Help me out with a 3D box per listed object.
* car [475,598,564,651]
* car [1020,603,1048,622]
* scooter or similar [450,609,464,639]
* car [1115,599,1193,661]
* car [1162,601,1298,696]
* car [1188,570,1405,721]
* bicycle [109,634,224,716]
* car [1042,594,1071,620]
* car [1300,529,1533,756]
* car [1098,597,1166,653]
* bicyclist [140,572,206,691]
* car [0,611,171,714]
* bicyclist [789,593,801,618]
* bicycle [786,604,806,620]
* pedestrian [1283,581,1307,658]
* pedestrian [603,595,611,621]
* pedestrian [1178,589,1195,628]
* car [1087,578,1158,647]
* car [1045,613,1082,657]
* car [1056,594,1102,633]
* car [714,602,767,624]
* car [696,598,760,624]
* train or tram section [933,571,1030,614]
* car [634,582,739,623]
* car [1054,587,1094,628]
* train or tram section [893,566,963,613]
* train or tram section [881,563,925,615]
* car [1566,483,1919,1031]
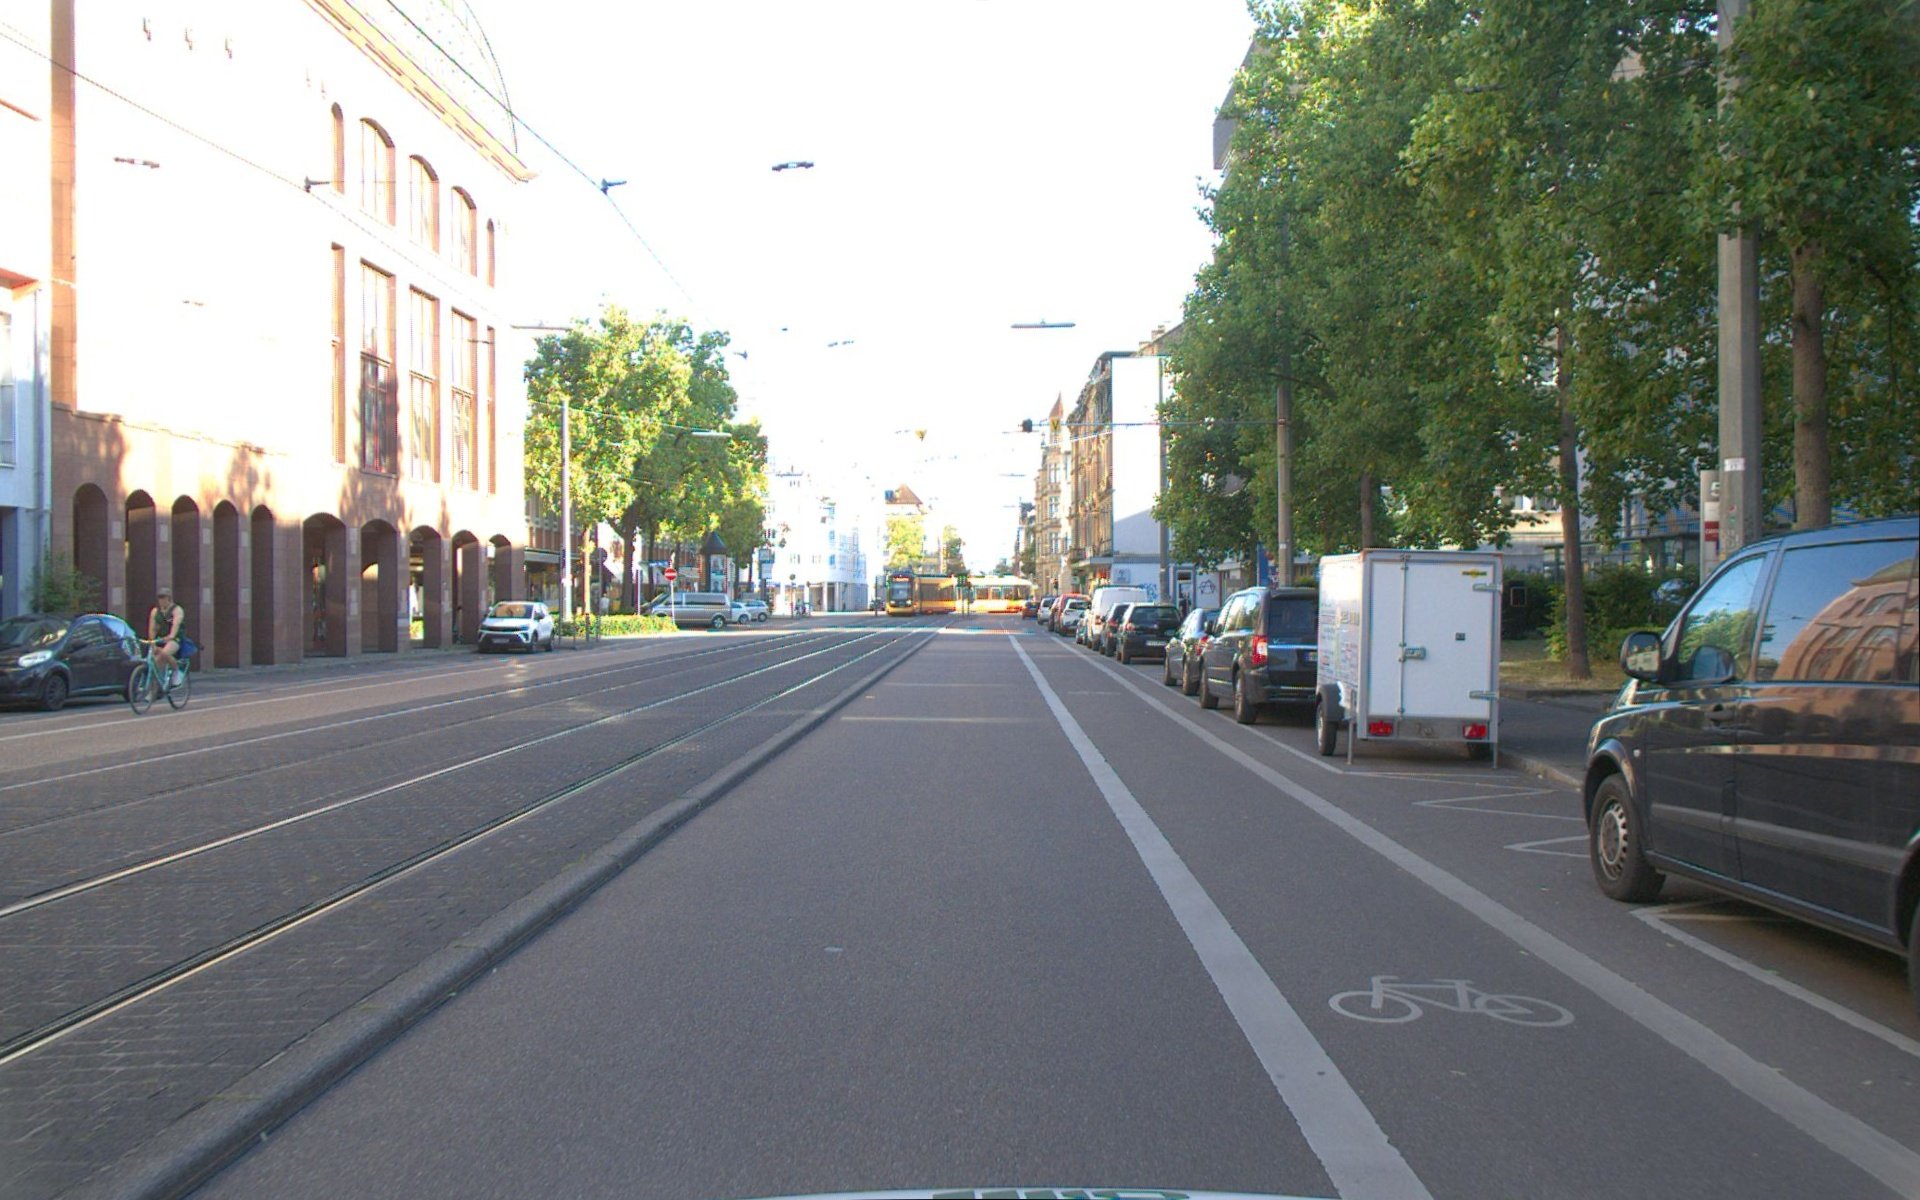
[{"bbox_3d":[-14.067,0.754,53.046,1.832,1.628,4.253,0,0,-2],"label":"car"},{"bbox_3d":[5.878,0.962,131.076,2.023,1.413,4.225,2,0,1],"label":"car"},{"bbox_3d":[-16.510,0.795,54.272,0.357,0.955,0.967,2,0,-19],"label":"scooter or similar"},{"bbox_3d":[4.825,0.720,41.539,1.587,1.456,3.985,0,0,1],"label":"car"},{"bbox_3d":[4.696,0.790,29.354,1.681,1.452,4.676,0,1,0],"label":"car"},{"bbox_3d":[4.510,0.557,22.973,1.910,1.819,5.181,1,0,0],"label":"car"},{"bbox_3d":[-11.817,1.097,24.703,0.570,1.096,2.186,-2,0,2],"label":"bicycle"},{"bbox_3d":[6.059,0.415,104.501,1.588,1.582,4.083,2,0,0],"label":"car"},{"bbox_3d":[4.753,0.420,17.692,1.669,2.157,3.708,0,0,4],"label":"car"},{"bbox_3d":[4.846,0.666,46.902,1.587,1.499,3.971,1,0,1],"label":"car"},{"bbox_3d":[-11.833,0.469,24.883,0.560,1.742,0.745,-2,0,1],"label":"bicyclist"},{"bbox_3d":[-14.422,0.934,26.296,1.830,1.476,3.585,1,0,4],"label":"car"},{"bbox_3d":[-14.063,0.451,141.073,0.693,2.049,0.714,2,0,-38],"label":"bicyclist"},{"bbox_3d":[-13.997,0.991,140.973,0.694,1.261,1.997,2,0,-40],"label":"bicycle"},{"bbox_3d":[7.757,0.444,38.288,0.417,1.739,0.454,-2,4,19],"label":"pedestrian"},{"bbox_3d":[-18.715,0.436,87.679,0.357,1.367,0.480,2,0,-19],"label":"pedestrian"},{"bbox_3d":[10.088,0.371,73.681,0.647,1.752,0.835,0,0,2],"label":"pedestrian"},{"bbox_3d":[5.136,0.361,52.780,1.930,2.049,4.559,-2,0,2],"label":"car"},{"bbox_3d":[5.086,1.725,81.793,1.588,2.041,3.831,2,0,0],"label":"car"},{"bbox_3d":[5.114,0.564,71.497,1.687,1.595,4.083,-1,0,0],"label":"car"},{"bbox_3d":[-15.984,0.940,120.389,3.484,1.507,1.565,2,0,-32],"label":"car"},{"bbox_3d":[-15.453,0.742,110.323,3.828,1.656,1.857,2,0,-30],"label":"car"},{"bbox_3d":[2.200,-0.667,159.787,2.652,3.818,11.222,2,0,41],"label":"train or tram section"},{"bbox_3d":[-15.064,0.177,91.040,5.199,2.078,2.393,2,-2,-32],"label":"car"},{"bbox_3d":[5.308,0.343,77.588,1.588,1.845,4.083,2,0,0],"label":"car"},{"bbox_3d":[-2.773,-0.868,149.557,2.635,3.946,12.852,2,0,15],"label":"train or tram section"},{"bbox_3d":[-4.645,-0.848,137.616,2.636,4.029,12.094,2,0,2],"label":"train or tram section"},{"bbox_3d":[4.342,0.557,6.922,1.915,1.901,4.990,1,0,2],"label":"car"}]
